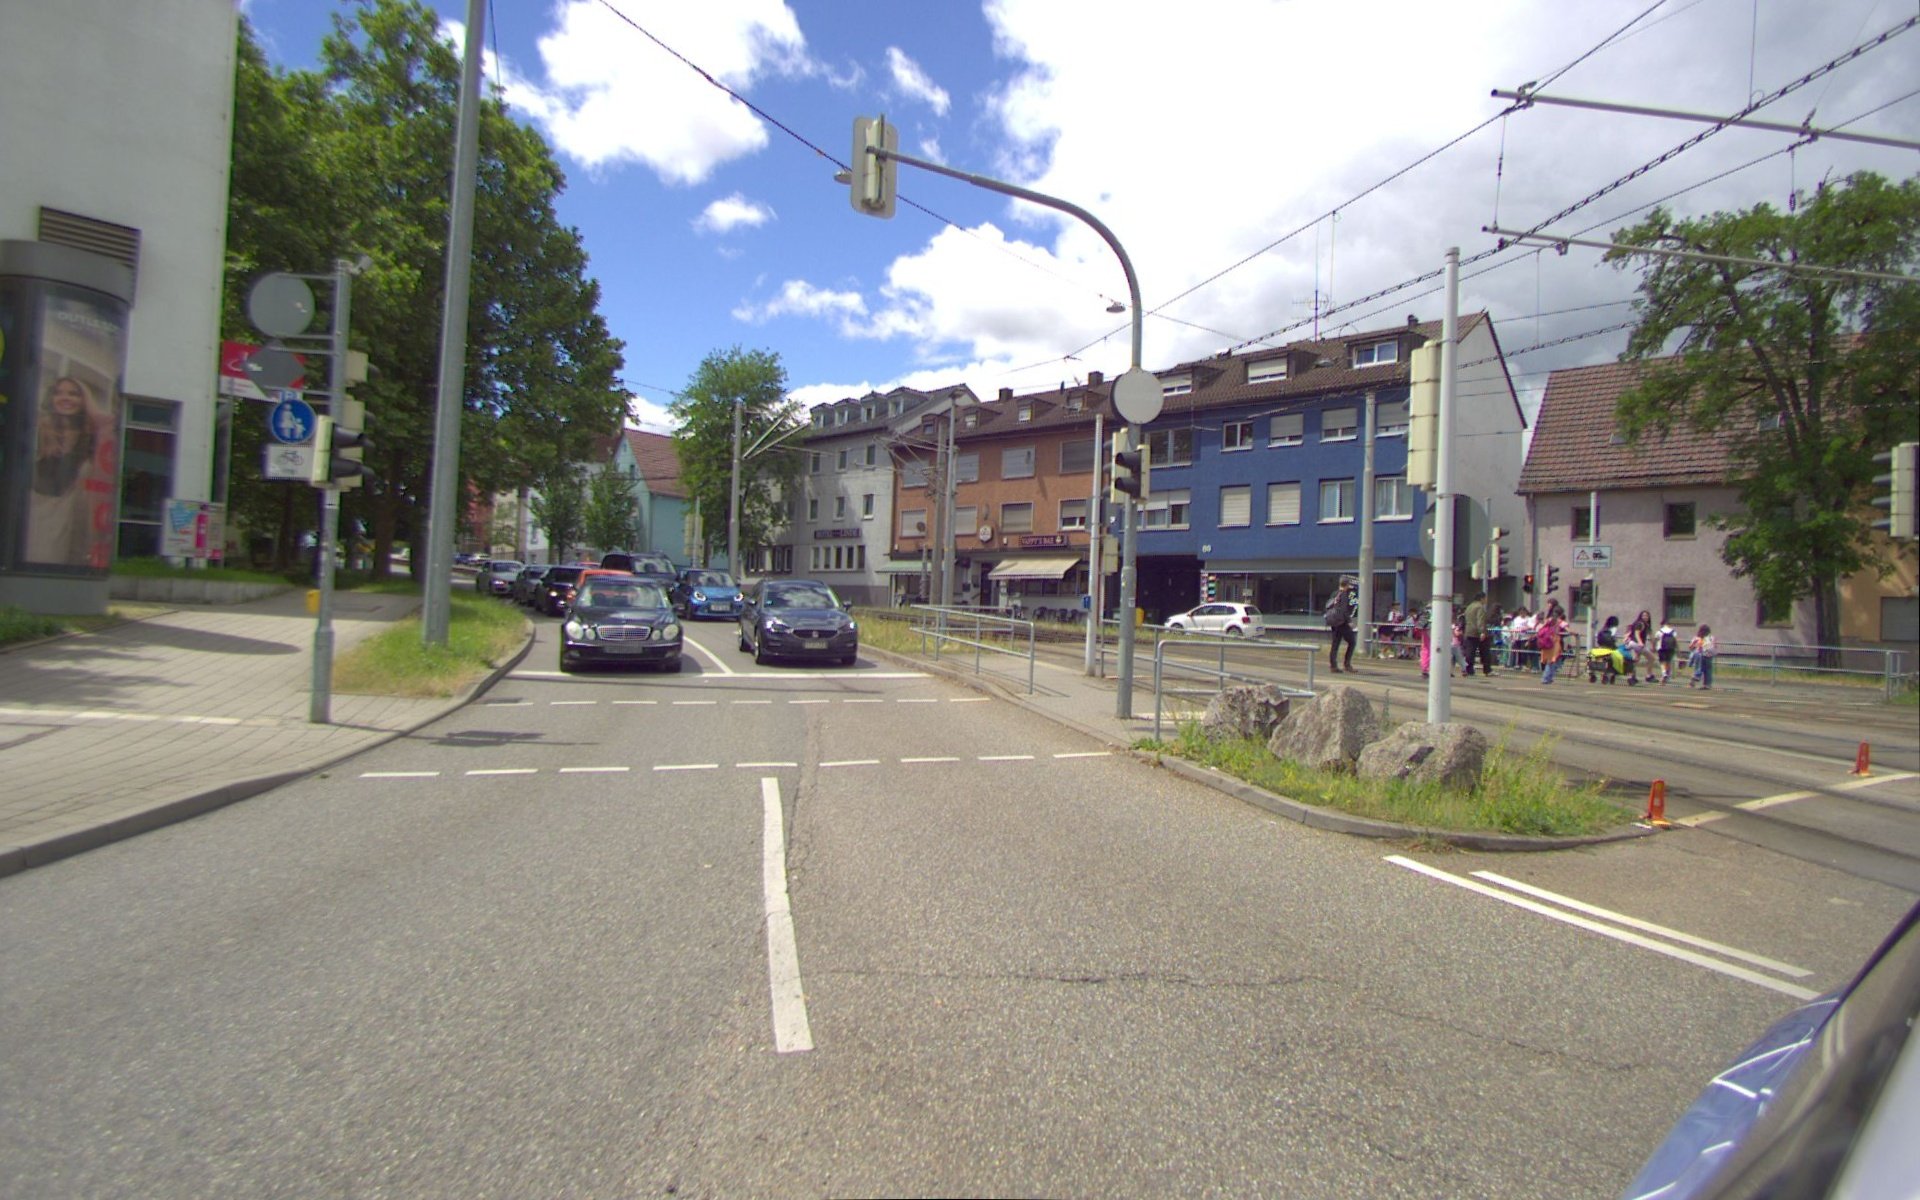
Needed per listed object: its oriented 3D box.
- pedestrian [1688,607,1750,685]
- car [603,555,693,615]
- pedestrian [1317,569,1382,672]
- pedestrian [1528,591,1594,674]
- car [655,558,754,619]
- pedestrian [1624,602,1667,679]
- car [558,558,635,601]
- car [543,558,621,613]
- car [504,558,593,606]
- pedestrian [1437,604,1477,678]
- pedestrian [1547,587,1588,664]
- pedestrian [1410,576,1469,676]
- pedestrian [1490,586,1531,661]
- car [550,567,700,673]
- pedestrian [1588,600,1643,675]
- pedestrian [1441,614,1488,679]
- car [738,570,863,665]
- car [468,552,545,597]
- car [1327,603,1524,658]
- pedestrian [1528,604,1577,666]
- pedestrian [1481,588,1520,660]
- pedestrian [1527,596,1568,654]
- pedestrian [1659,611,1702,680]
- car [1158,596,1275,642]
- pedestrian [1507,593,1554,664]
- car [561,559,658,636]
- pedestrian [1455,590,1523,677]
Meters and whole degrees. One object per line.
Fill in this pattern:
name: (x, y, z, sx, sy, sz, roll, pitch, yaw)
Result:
pedestrian: (15.015, 0.890, 20.034, 0.766, 1.488, 0.541, 2, 0, 5)
car: (-10.869, -0.525, 35.046, 1.816, 1.905, 4.151, 2, 0, -34)
pedestrian: (7.394, 0.380, 19.257, 0.954, 1.864, 0.822, 3, 0, 15)
pedestrian: (11.242, 0.594, 18.949, 0.842, 1.500, 0.738, 2, 0, 15)
car: (-7.781, -0.361, 30.597, 1.888, 1.659, 4.005, 2, 0, -29)
pedestrian: (14.226, 0.827, 20.994, 0.664, 1.546, 0.586, 1, 0, -44)
car: (-14.777, -0.834, 41.030, 1.976, 1.574, 4.002, 2, 0, -34)
car: (-11.302, -0.436, 30.136, 1.863, 1.482, 4.007, 2, 0, -25)
car: (-14.668, -0.658, 35.959, 1.963, 1.603, 3.999, 1, 1, -37)
pedestrian: (12.247, 1.006, 24.965, 0.742, 1.772, 0.584, 2, 0, 15)
pedestrian: (14.371, 0.604, 23.952, 0.577, 1.772, 0.674, 3, -2, -42)
pedestrian: (8.721, 0.462, 18.424, 0.680, 1.772, 0.751, 2, 0, 4)
pedestrian: (13.228, 0.559, 24.310, 0.577, 1.772, 0.674, 3, -2, -42)
car: (-5.595, 0.266, 16.551, 2.010, 1.483, 4.333, 1, 0, -22)
pedestrian: (13.913, 0.787, 21.488, 0.661, 1.510, 0.589, 2, 3, -13)
pedestrian: (9.651, 0.880, 19.364, 0.665, 1.182, 0.584, 2, 0, 15)
car: (-3.048, 0.227, 18.616, 1.703, 1.455, 4.104, 0, 3, -17)
car: (-18.027, -1.016, 40.124, 1.963, 1.639, 3.999, 2, 1, -37)
car: (13.375, 0.852, 29.287, 4.840, 1.388, 1.889, 1, -2, 44)
pedestrian: (13.727, 0.805, 23.445, 0.575, 1.392, 0.782, 1, 1, -17)
pedestrian: (13.589, 0.606, 25.426, 0.577, 1.772, 0.674, 3, -2, -42)
pedestrian: (14.456, 0.616, 24.897, 0.623, 1.393, 0.675, 2, 0, -39)
pedestrian: (15.249, 0.947, 21.427, 0.664, 1.418, 0.586, 2, 0, -42)
car: (9.795, 0.723, 38.833, 1.684, 1.551, 3.989, 4, -1, -45)
pedestrian: (13.078, 0.646, 23.211, 0.575, 1.585, 0.676, 2, 0, -25)
car: (-8.606, -0.047, 24.639, 1.958, 1.663, 4.007, 2, -1, -22)
pedestrian: (10.511, 0.648, 20.142, 0.875, 1.672, 0.825, 2, 0, 2)
